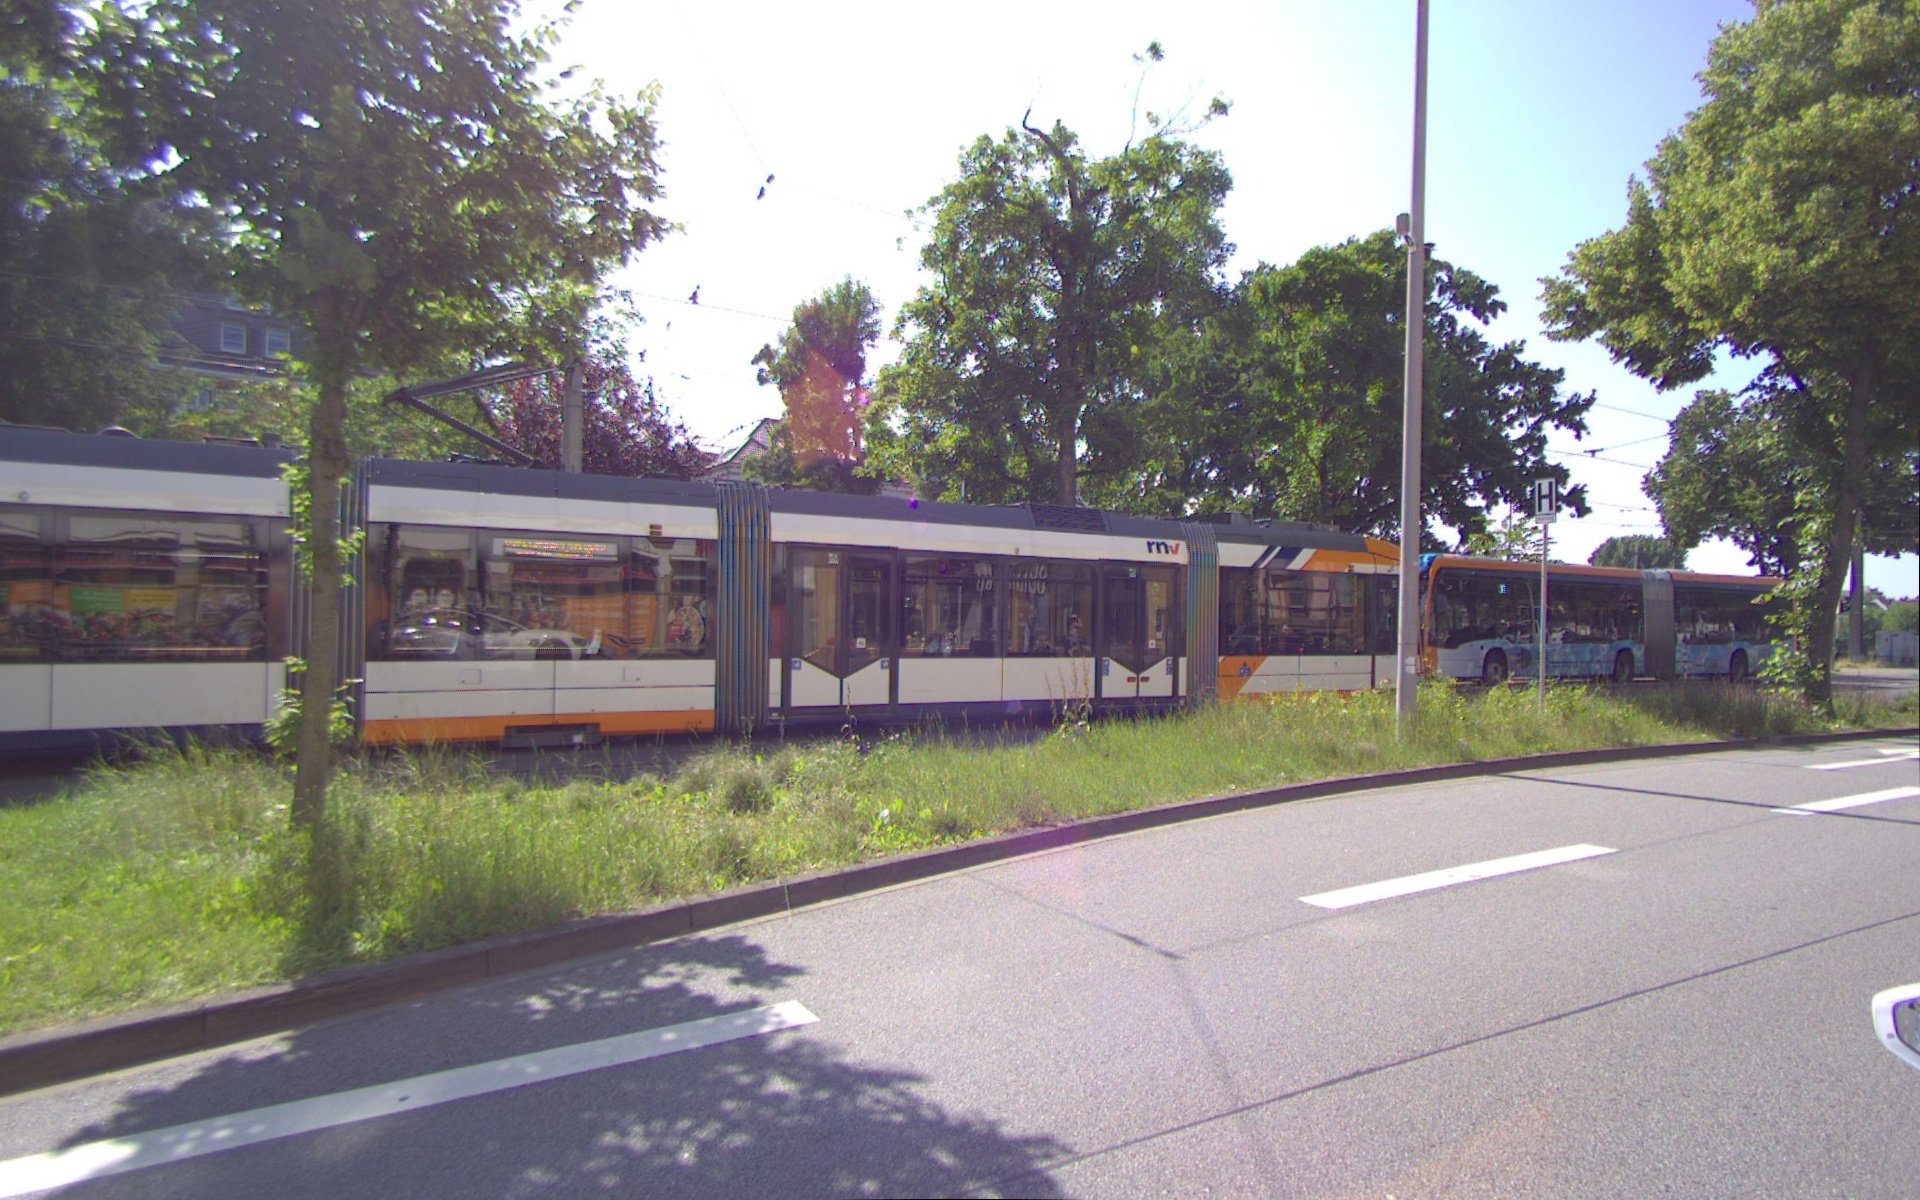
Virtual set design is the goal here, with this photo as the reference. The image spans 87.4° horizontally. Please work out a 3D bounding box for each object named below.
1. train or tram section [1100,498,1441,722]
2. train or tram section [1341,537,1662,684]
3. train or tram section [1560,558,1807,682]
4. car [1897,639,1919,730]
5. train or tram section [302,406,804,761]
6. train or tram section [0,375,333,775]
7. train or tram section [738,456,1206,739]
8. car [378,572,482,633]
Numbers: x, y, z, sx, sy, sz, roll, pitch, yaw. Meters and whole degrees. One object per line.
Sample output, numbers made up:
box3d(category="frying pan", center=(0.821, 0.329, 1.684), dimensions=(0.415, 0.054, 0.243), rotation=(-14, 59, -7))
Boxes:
box3d(category="train or tram section", center=(5.860, 0.209, 18.799), dimensions=(5.944, 3.629, 2.602), rotation=(2, 1, -29))
box3d(category="train or tram section", center=(15.427, 0.357, 28.323), dimensions=(9.905, 3.629, 2.811), rotation=(2, 1, -28))
box3d(category="train or tram section", center=(23.443, 0.666, 32.480), dimensions=(8.116, 3.629, 2.813), rotation=(2, 1, -26))
box3d(category="car", center=(16.418, 1.375, 15.360), dimensions=(3.950, 1.350, 1.808), rotation=(3, 1, -28))
box3d(category="train or tram section", center=(-4.982, -0.125, 12.705), dimensions=(5.292, 3.629, 2.602), rotation=(2, 1, -29))
box3d(category="train or tram section", center=(-9.907, -0.283, 9.948), dimensions=(6.029, 3.629, 2.602), rotation=(2, 1, -29))
box3d(category="train or tram section", center=(0.304, 0.031, 15.669), dimensions=(6.814, 3.629, 2.602), rotation=(2, 1, -29))
box3d(category="car", center=(-32.013, 0.159, 60.758), dimensions=(5.355, 3.360, 2.117), rotation=(3, 1, -29))
